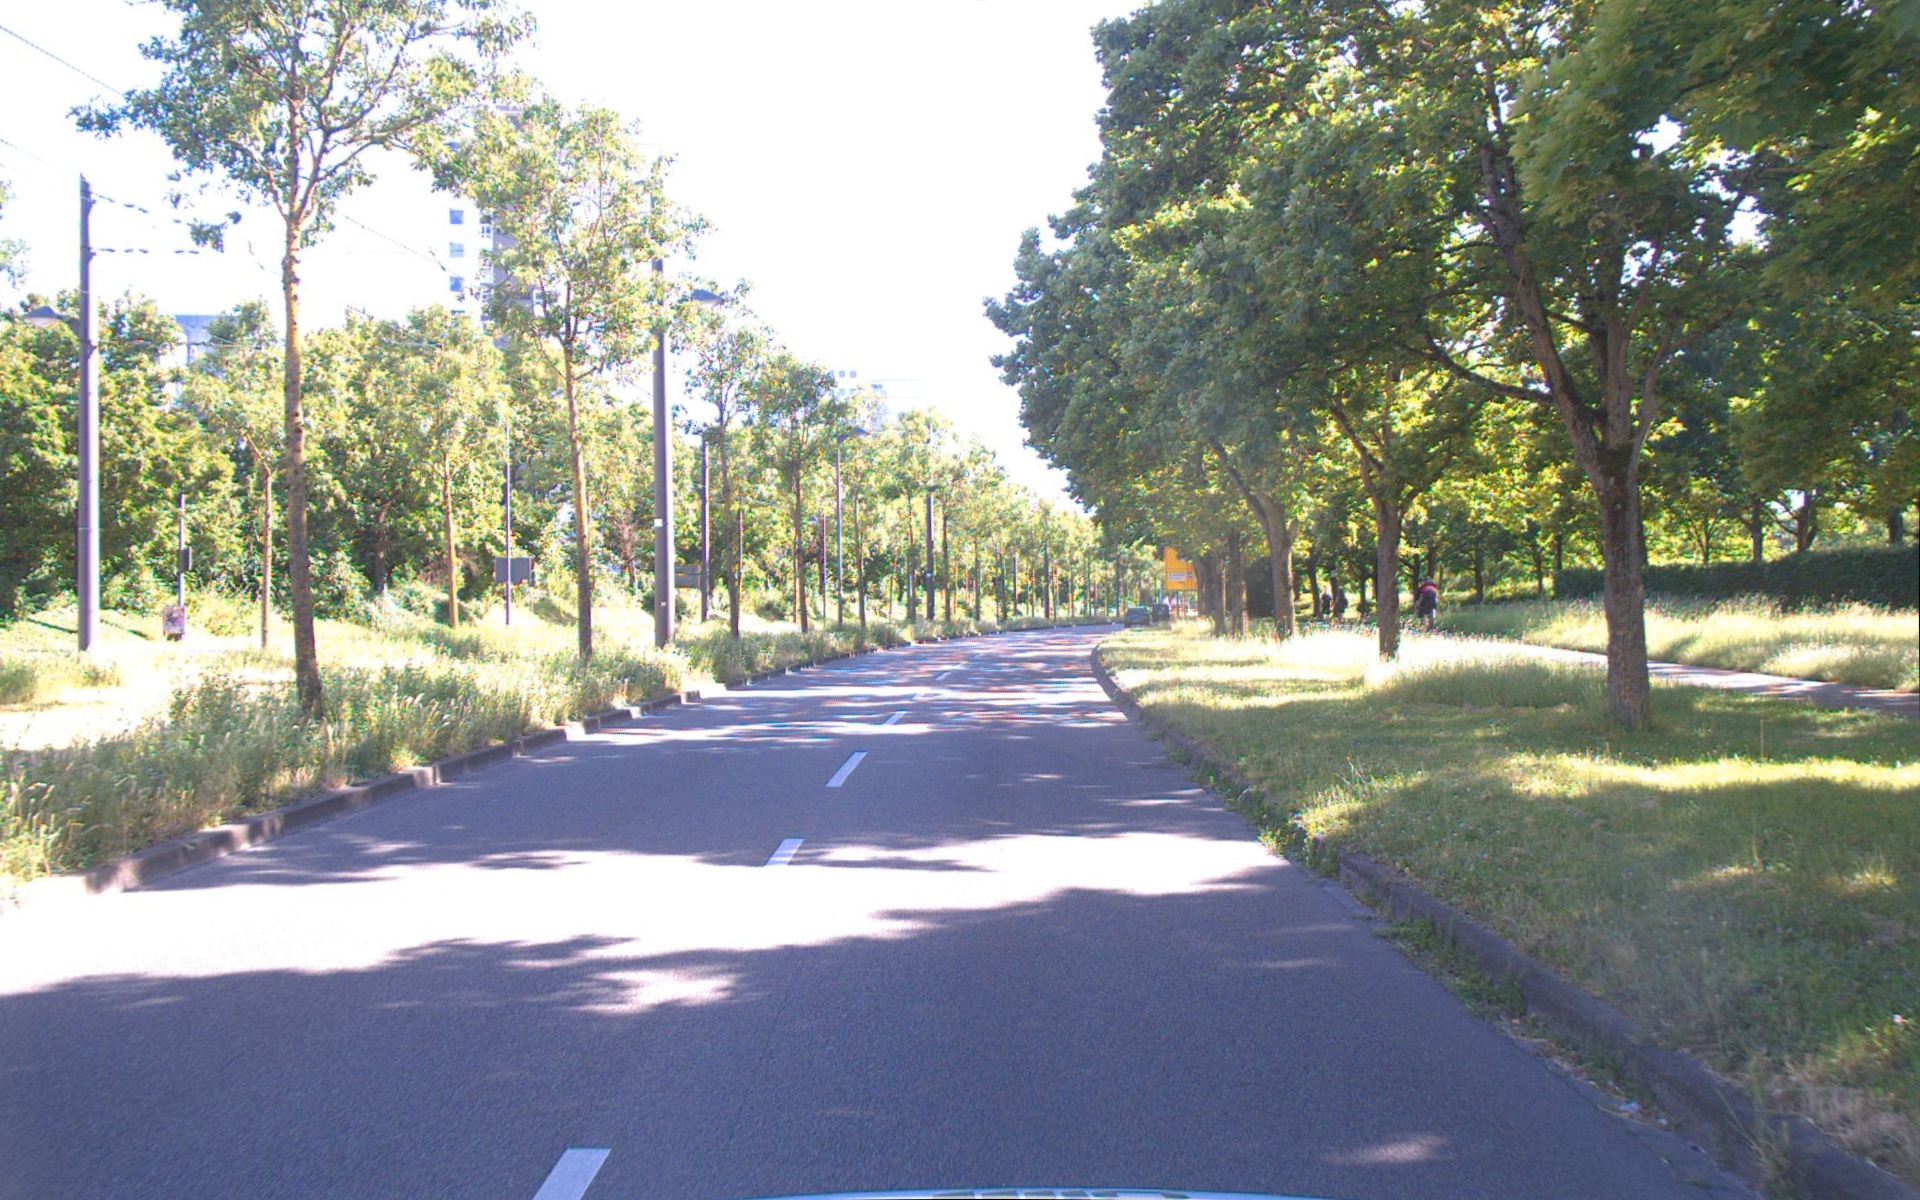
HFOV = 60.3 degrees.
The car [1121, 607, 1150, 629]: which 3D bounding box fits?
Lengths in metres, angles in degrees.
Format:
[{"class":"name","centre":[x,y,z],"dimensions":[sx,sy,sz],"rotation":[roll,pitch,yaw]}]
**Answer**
[{"class":"car","centre":[12.439,1.247,117.108],"dimensions":[1.599,1.524,4.238],"rotation":[0,0,11]}]

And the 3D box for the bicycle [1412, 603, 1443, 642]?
[{"class":"bicycle","centre":[13.228,0.626,46.824],"dimensions":[0.777,1.065,2.144],"rotation":[-1,-1,15]}]

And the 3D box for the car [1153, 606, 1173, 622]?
[{"class":"car","centre":[19.783,1.336,160.725],"dimensions":[1.599,1.524,4.238],"rotation":[0,0,12]}]

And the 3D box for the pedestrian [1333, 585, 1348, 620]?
[{"class":"pedestrian","centre":[18.906,0.110,82.136],"dimensions":[0.623,1.721,0.844],"rotation":[-1,-1,19]}]

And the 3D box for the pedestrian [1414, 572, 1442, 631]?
[{"class":"pedestrian","centre":[14.787,0.051,52.263],"dimensions":[0.700,1.835,0.794],"rotation":[-1,0,6]}]

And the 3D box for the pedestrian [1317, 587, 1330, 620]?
[{"class":"pedestrian","centre":[18.132,0.185,82.480],"dimensions":[0.535,1.650,0.844],"rotation":[-1,-1,19]}]

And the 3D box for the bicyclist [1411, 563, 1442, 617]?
[{"class":"bicyclist","centre":[13.199,-0.276,46.812],"dimensions":[0.772,1.476,0.845],"rotation":[-1,-1,15]}]
